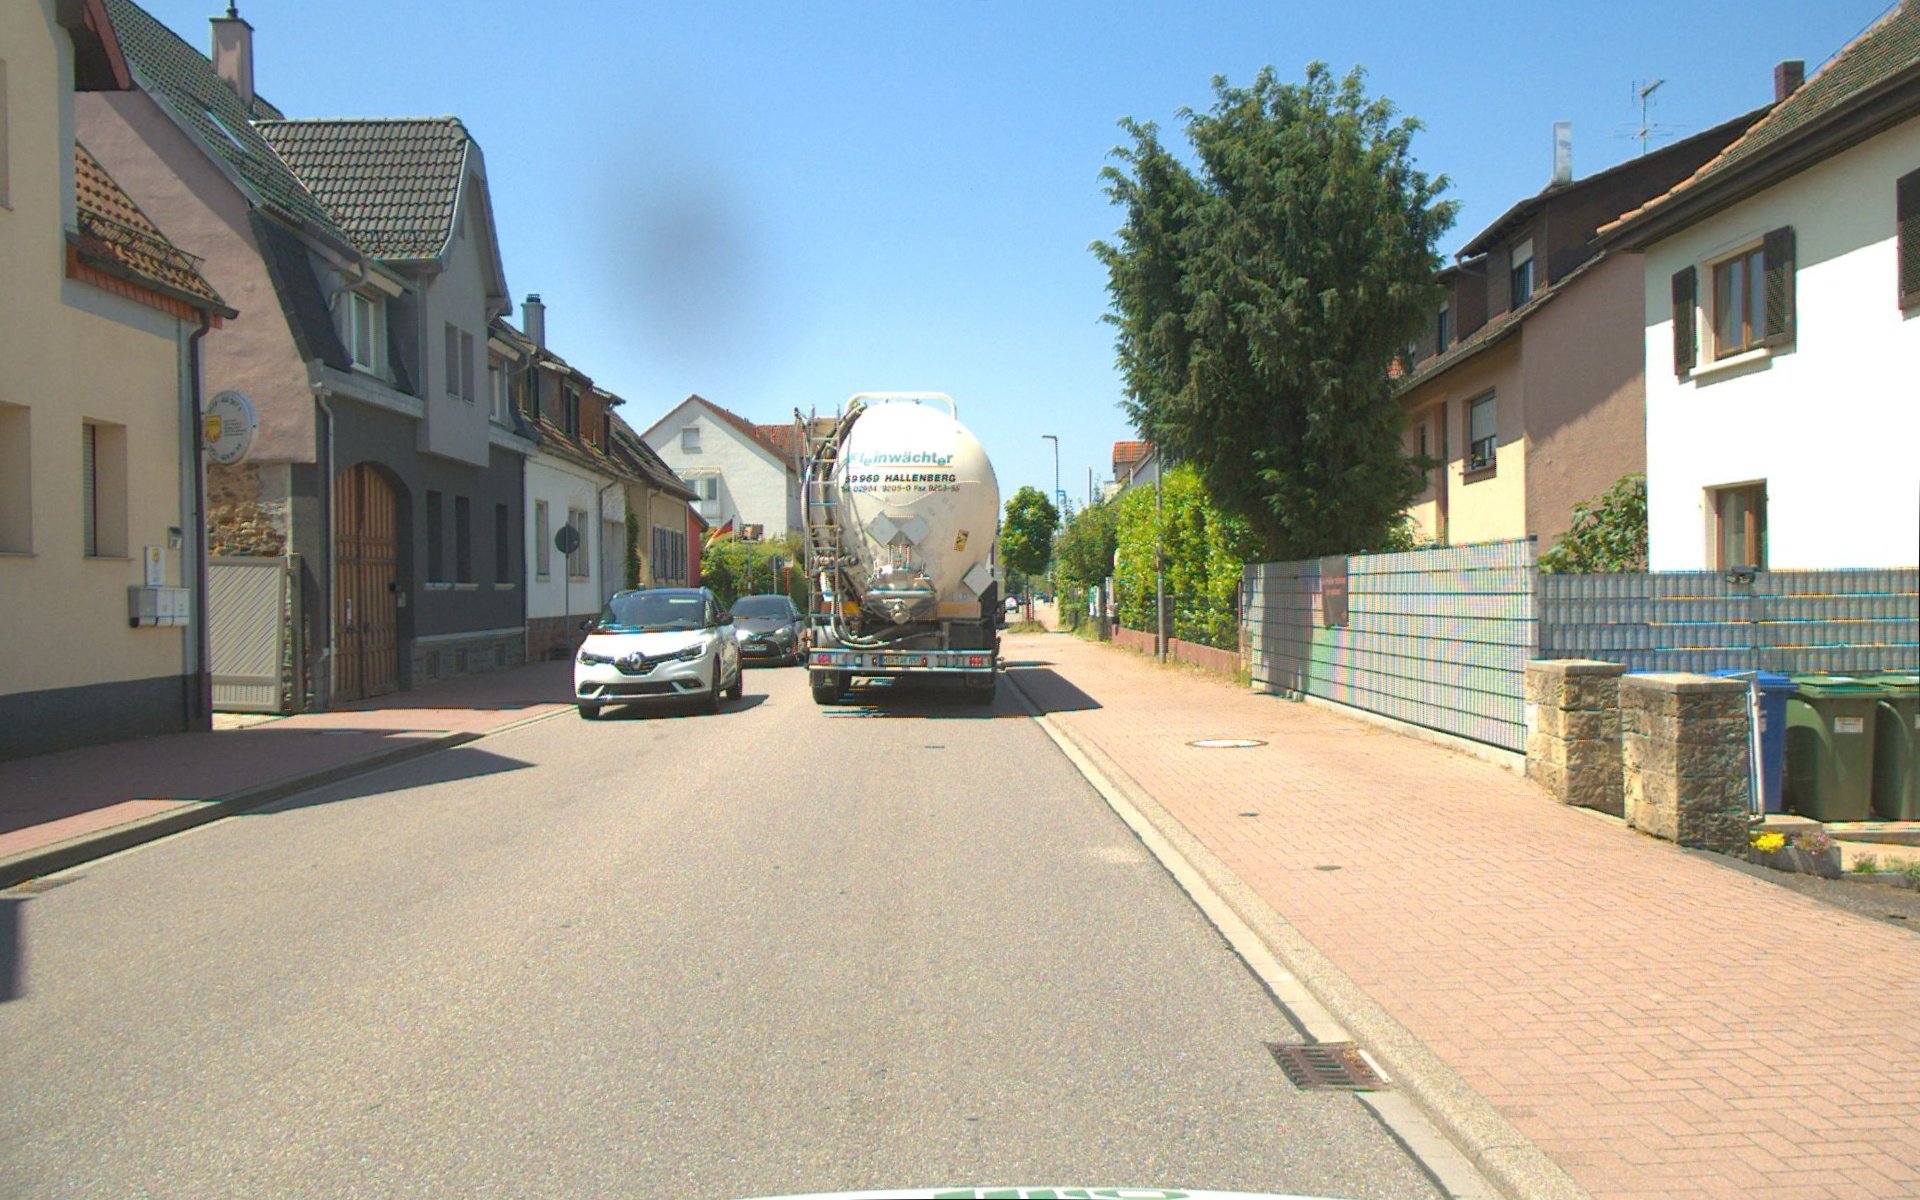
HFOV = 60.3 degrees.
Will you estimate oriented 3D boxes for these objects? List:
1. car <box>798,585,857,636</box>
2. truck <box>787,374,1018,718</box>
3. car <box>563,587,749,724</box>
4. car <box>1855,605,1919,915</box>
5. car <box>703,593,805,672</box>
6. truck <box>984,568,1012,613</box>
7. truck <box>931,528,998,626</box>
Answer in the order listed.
[{"bbox_3d":[-4.339,0.333,54.785,1.708,1.532,4.056,-3,0,-2],"label":"car"},{"bbox_3d":[-0.810,-0.622,23.658,2.677,4.029,8.138,1,0,-2],"label":"truck"},{"bbox_3d":[-4.057,0.688,22.745,1.814,1.598,4.253,-3,0,-2],"label":"car"},{"bbox_3d":[7.087,1.172,8.222,4.090,1.613,1.906,10,0,-1],"label":"car"},{"bbox_3d":[-4.460,0.672,36.338,1.814,1.532,4.103,-3,0,-2],"label":"car"},{"bbox_3d":[2.842,-0.721,123.817,1.952,3.191,9.450,1,0,1],"label":"truck"},{"bbox_3d":[0.277,-0.937,72.678,2.676,4.029,8.143,1,0,2],"label":"truck"}]
